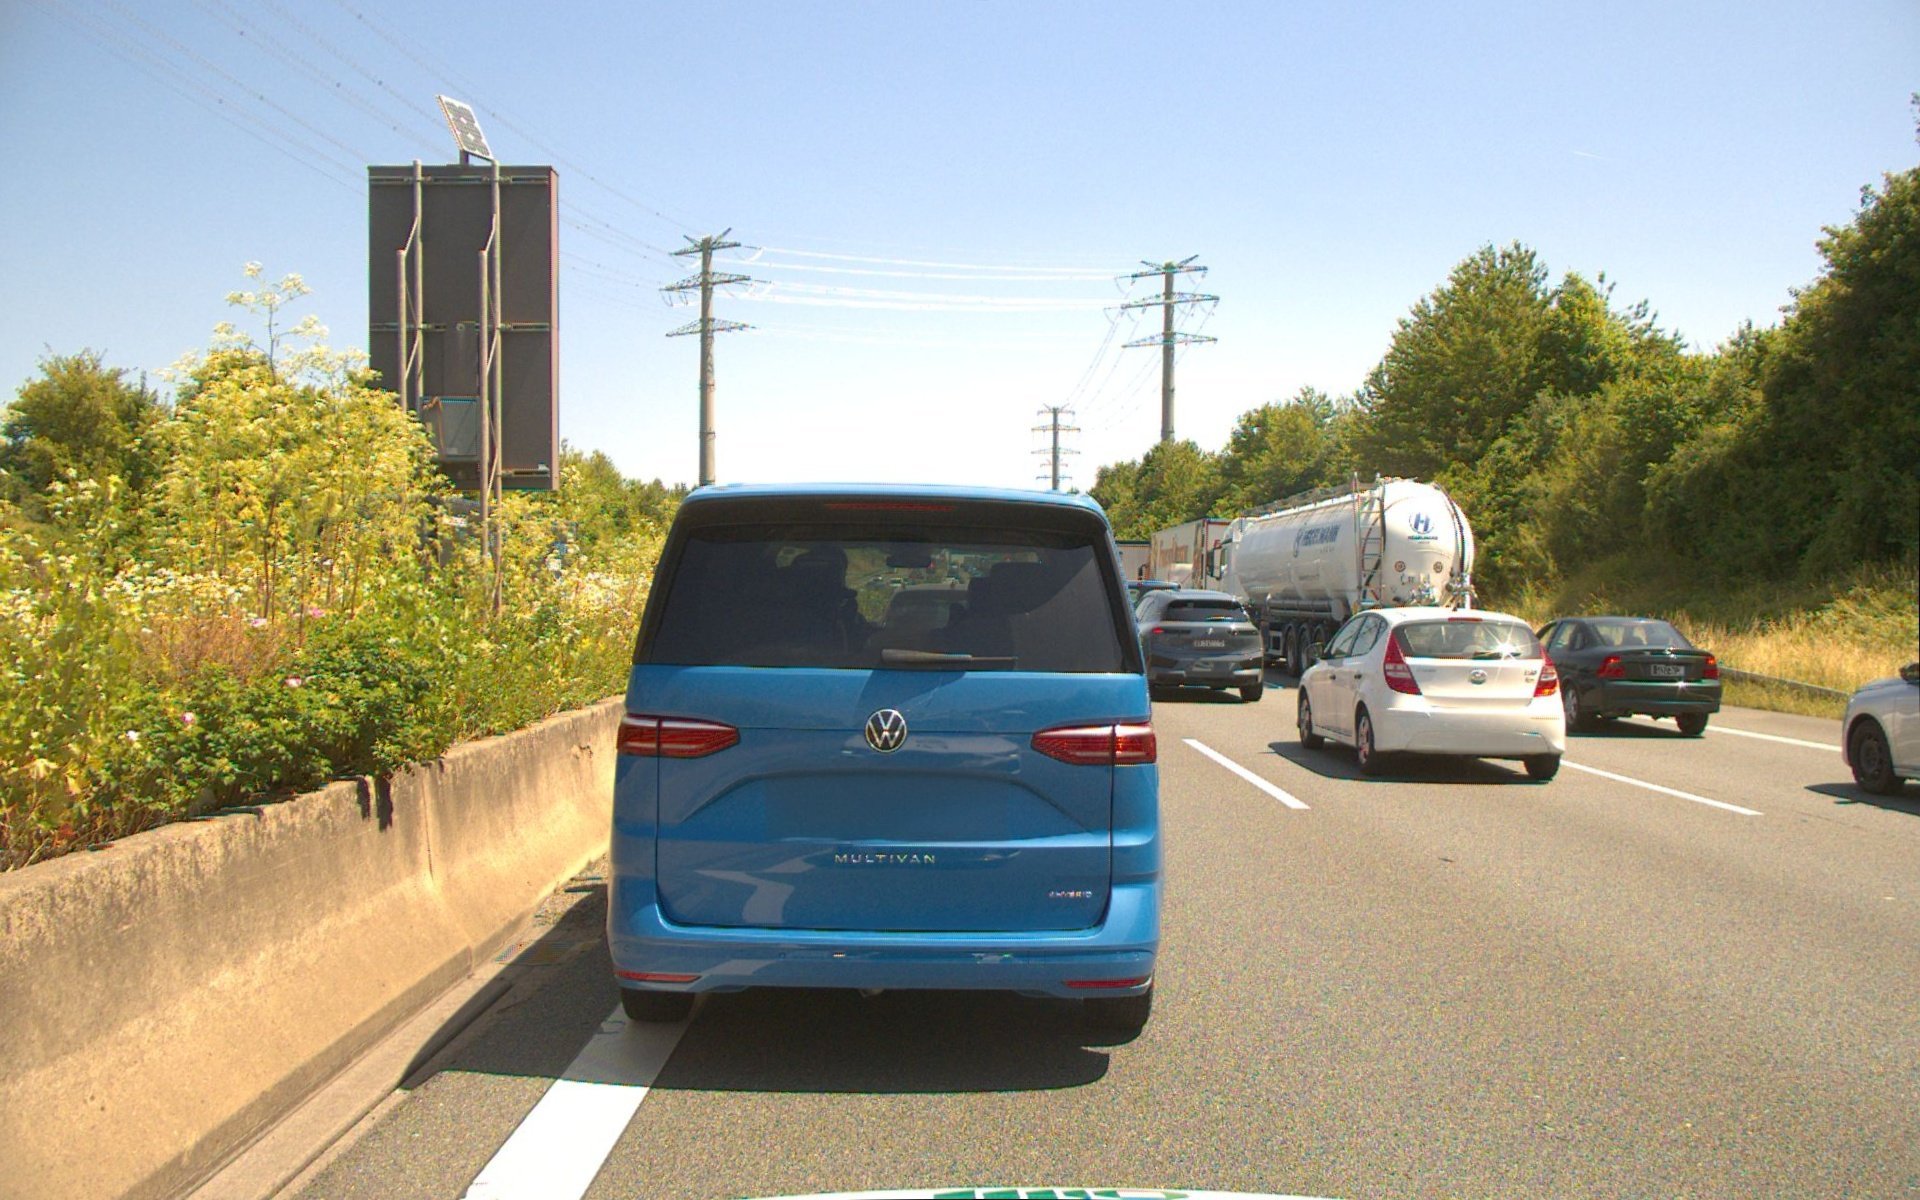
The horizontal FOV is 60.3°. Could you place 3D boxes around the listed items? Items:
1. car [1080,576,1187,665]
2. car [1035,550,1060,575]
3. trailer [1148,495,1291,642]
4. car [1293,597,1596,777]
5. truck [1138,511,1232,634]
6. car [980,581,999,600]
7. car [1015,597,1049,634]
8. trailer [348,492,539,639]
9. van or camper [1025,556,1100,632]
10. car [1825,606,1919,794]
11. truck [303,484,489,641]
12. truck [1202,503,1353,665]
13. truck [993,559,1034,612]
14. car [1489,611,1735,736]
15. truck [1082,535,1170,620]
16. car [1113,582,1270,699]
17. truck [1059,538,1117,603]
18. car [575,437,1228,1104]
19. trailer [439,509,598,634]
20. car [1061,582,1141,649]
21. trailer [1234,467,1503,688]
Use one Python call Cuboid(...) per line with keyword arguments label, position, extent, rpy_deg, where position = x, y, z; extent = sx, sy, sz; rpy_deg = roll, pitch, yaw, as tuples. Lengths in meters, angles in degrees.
Cuboid(label="car", position=(4.069, 0.483, 39.338), extent=(1.885, 1.959, 4.233), rpy_deg=(-1, -1, -3))
Cuboid(label="car", position=(7.811, -3.330, 147.989), extent=(1.953, 2.049, 4.000), rpy_deg=(0, 0, 0))
Cuboid(label="trailer", position=(8.714, -0.974, 57.137), extent=(2.853, 4.547, 12.151), rpy_deg=(0, 0, -1))
Cuboid(label="car", position=(4.472, 0.757, 15.891), extent=(1.779, 1.511, 4.000), rpy_deg=(0, -1, 1))
Cuboid(label="truck", position=(8.594, -1.005, 63.777), extent=(2.853, 4.547, 5.141), rpy_deg=(0, 0, -1))
Cuboid(label="car", position=(3.390, -1.064, 190.959), extent=(1.953, 2.163, 3.999), rpy_deg=(0, 0, -1))
Cuboid(label="car", position=(4.035, 0.875, 93.566), extent=(1.798, 2.033, 4.000), rpy_deg=(-1, -1, 1))
Cuboid(label="trailer", position=(-14.460, -0.907, 47.004), extent=(3.061, 3.825, 7.868), rpy_deg=(0, 0, -1))
Cuboid(label="van or camper", position=(4.328, -0.232, 71.224), extent=(2.896, 3.075, 7.103), rpy_deg=(0, 0, 1))
Cuboid(label="car", position=(8.427, 0.802, 12.457), extent=(1.695, 1.468, 4.028), rpy_deg=(0, 1, -1))
Cuboid(label="truck", position=(-14.383, -0.905, 42.639), extent=(3.009, 3.774, 5.462), rpy_deg=(0, 0, -1))
Cuboid(label="truck", position=(8.057, -0.380, 42.634), extent=(2.736, 3.903, 5.571), rpy_deg=(0, 0, -1))
Cuboid(label="truck", position=(3.996, -1.017, 125.683), extent=(2.836, 3.832, 10.140), rpy_deg=(0, 0, 0))
Cuboid(label="car", position=(8.311, 0.886, 21.447), extent=(1.607, 1.441, 3.988), rpy_deg=(-1, -1, 0))
Cuboid(label="truck", position=(8.086, -0.951, 82.546), extent=(2.944, 3.832, 15.712), rpy_deg=(0, 0, 0))
Cuboid(label="car", position=(3.694, 0.643, 27.185), extent=(1.958, 1.745, 4.625), rpy_deg=(0, -1, 0))
Cuboid(label="truck", position=(8.120, -1.768, 106.418), extent=(2.836, 3.832, 13.344), rpy_deg=(0, 0, 0))
Cuboid(label="car", position=(-0.178, 0.496, 6.874), extent=(1.881, 1.919, 4.000), rpy_deg=(1, 0, 0))
Cuboid(label="trailer", position=(-14.473, -0.880, 54.955), extent=(3.118, 3.827, 8.199), rpy_deg=(0, 0, -1))
Cuboid(label="car", position=(4.312, 0.480, 51.132), extent=(1.885, 1.959, 4.233), rpy_deg=(-1, -1, -3))
Cuboid(label="trailer", position=(8.195, -0.389, 35.070), extent=(2.705, 3.912, 11.484), rpy_deg=(0, 0, -1))
